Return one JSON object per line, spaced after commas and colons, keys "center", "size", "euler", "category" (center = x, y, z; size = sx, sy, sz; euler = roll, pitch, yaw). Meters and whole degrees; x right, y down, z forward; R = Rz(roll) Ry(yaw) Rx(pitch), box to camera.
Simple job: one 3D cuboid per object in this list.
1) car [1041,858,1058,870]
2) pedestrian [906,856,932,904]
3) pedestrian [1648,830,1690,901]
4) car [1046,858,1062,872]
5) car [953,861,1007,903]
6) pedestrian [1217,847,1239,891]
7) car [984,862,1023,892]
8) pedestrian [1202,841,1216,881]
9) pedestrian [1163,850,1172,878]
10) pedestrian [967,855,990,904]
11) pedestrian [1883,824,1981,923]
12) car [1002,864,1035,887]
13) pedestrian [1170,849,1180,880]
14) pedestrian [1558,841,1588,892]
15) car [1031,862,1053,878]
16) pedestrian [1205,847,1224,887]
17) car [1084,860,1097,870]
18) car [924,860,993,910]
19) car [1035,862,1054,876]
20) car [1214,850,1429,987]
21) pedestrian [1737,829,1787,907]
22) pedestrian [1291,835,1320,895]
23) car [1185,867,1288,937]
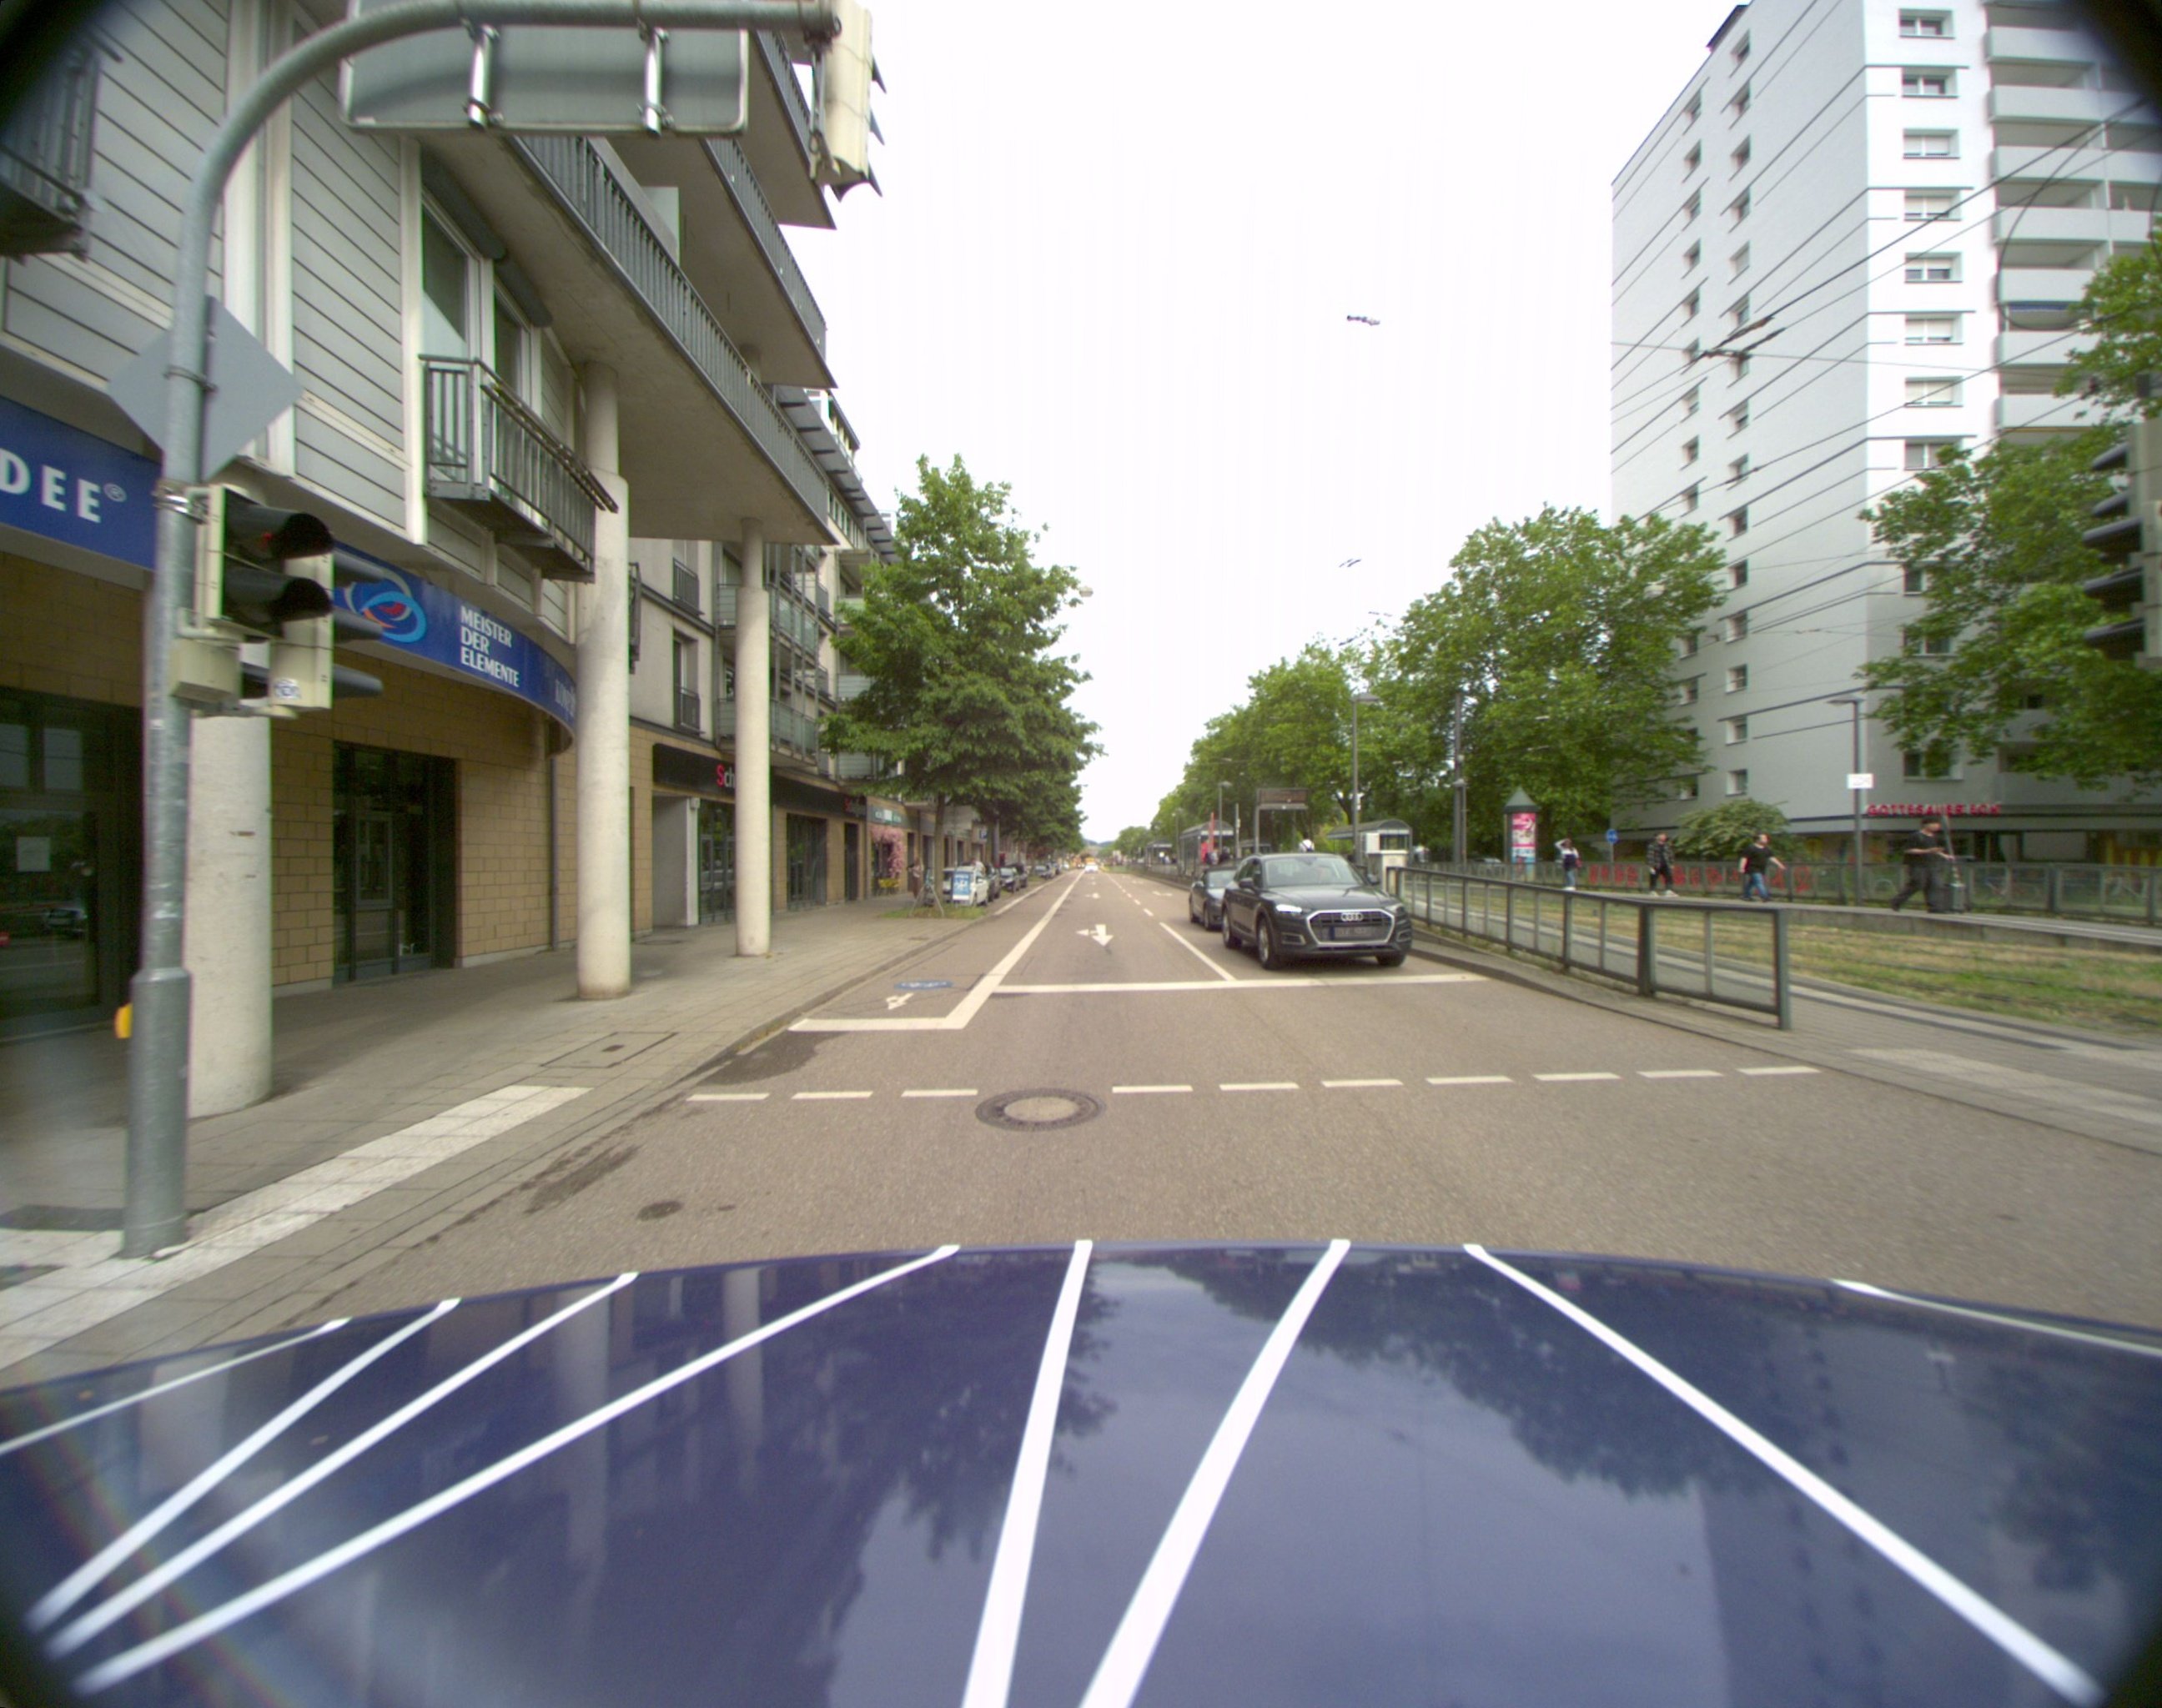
{"center": [-3.649, 1.152, 87.753], "size": [1.730, 1.375, 3.816], "euler": [1, 0, 1], "category": "car"}
{"center": [-6.202, 0.977, 29.076], "size": [0.745, 1.795, 0.839], "euler": [-2, 0, 0], "category": "pedestrian"}
{"center": [15.201, 0.290, 19.645], "size": [0.622, 1.779, 0.534], "euler": [-2, 0, 2], "category": "pedestrian"}
{"center": [-3.346, 1.288, 93.349], "size": [1.730, 1.675, 3.816], "euler": [1, 0, 1], "category": "car"}
{"center": [-4.345, 1.165, 33.137], "size": [1.730, 1.652, 3.943], "euler": [1, 0, 1], "category": "car"}
{"center": [6.117, 0.613, 31.531], "size": [0.661, 1.781, 0.535], "euler": [-2, 0, 41], "category": "pedestrian"}
{"center": [-4.258, 1.241, 42.202], "size": [1.684, 1.536, 3.943], "euler": [1, 0, 1], "category": "car"}
{"center": [6.618, 0.373, 39.313], "size": [0.585, 2.038, 0.821], "euler": [-2, 0, 4], "category": "pedestrian"}
{"center": [6.358, 0.718, 56.014], "size": [0.585, 2.038, 0.821], "euler": [-2, 0, 4], "category": "pedestrian"}
{"center": [-4.126, 1.026, 30.717], "size": [0.652, 1.922, 0.644], "euler": [-2, 0, 16], "category": "pedestrian"}
{"center": [15.283, 0.342, 13.663], "size": [0.742, 1.685, 0.879], "euler": [-2, 0, 2], "category": "pedestrian"}
{"center": [-4.062, 1.381, 49.948], "size": [1.730, 1.375, 3.816], "euler": [1, 0, 1], "category": "car"}
{"center": [6.387, 0.722, 51.606], "size": [0.585, 2.038, 0.821], "euler": [-2, 0, 4], "category": "pedestrian"}
{"center": [16.359, 0.402, 25.274], "size": [0.622, 1.659, 0.565], "euler": [-2, 0, 2], "category": "pedestrian"}
{"center": [-3.634, 1.455, 70.750], "size": [1.730, 1.375, 3.816], "euler": [1, 0, 1], "category": "car"}
{"center": [6.046, 0.581, 34.447], "size": [0.683, 1.781, 0.821], "euler": [-2, 0, 4], "category": "pedestrian"}
{"center": [1.423, 1.572, 110.802], "size": [1.865, 1.339, 3.816], "euler": [1, 0, 1], "category": "car"}
{"center": [-4.413, 1.071, 27.974], "size": [1.730, 1.652, 4.104], "euler": [2, 0, 1], "category": "car"}
{"center": [-3.688, 1.483, 77.410], "size": [1.730, 1.375, 3.816], "euler": [1, 0, 1], "category": "car"}
{"center": [3.359, 0.812, 11.575], "size": [1.916, 1.637, 4.368], "euler": [-2, 0, 1], "category": "car"}
{"center": [15.719, 0.322, 17.554], "size": [0.622, 1.740, 0.548], "euler": [-2, 0, 2], "category": "pedestrian"}
{"center": [6.641, 0.320, 22.462], "size": [0.662, 1.740, 0.534], "euler": [-2, 0, 2], "category": "pedestrian"}
{"center": [3.510, 1.029, 17.863], "size": [1.637, 1.366, 4.014], "euler": [-2, 0, 1], "category": "car"}
